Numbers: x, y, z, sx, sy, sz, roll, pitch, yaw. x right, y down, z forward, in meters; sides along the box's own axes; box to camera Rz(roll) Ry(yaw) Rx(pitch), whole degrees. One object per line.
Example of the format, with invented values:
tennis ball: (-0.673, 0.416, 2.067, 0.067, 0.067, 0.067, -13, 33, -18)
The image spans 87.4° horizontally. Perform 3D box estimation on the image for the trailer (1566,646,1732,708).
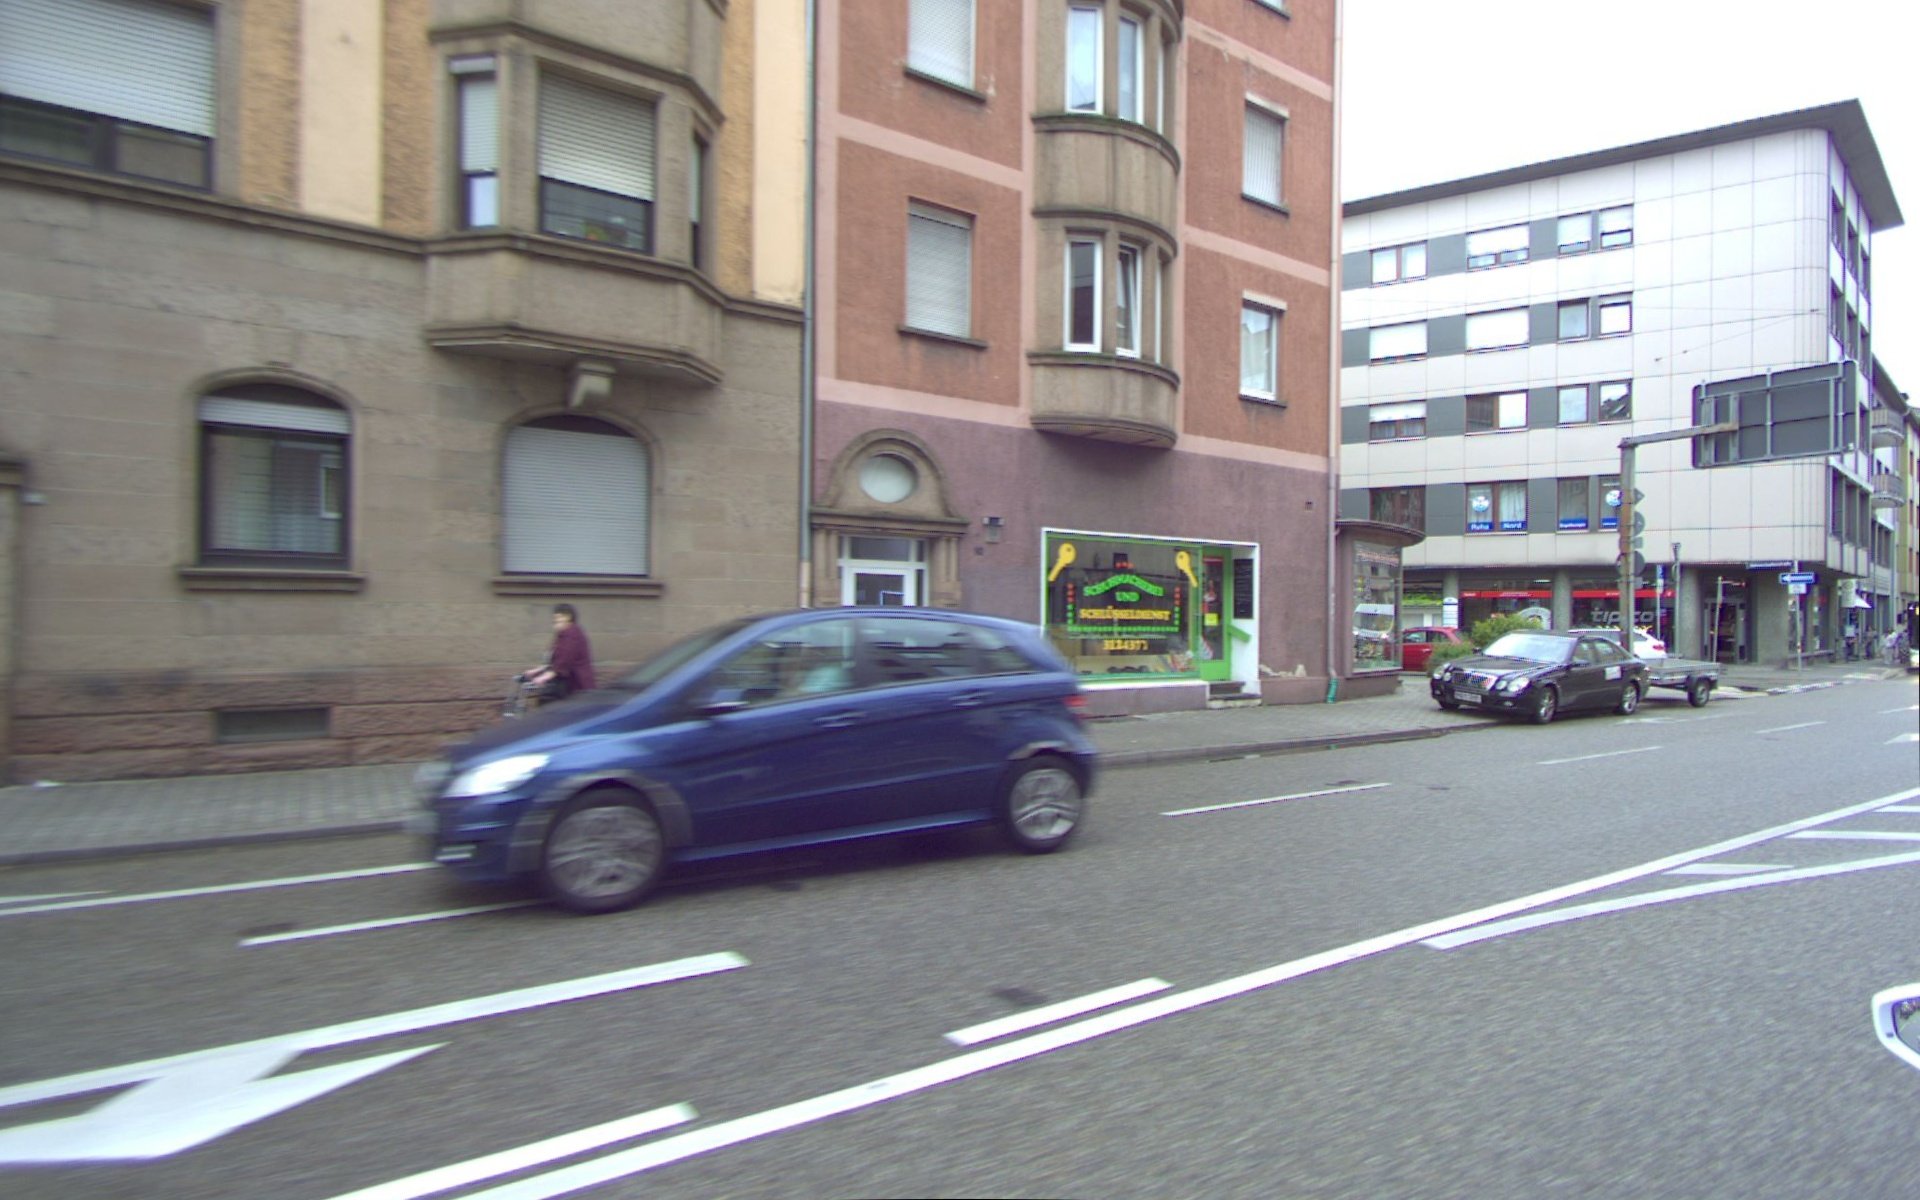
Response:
trailer: (13.572, 1.479, 19.783, 3.022, 0.962, 1.579, 2, 3, -32)

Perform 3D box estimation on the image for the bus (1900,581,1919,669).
bus: (39.327, 1.057, 39.559, 8.848, 3.230, 2.733, 2, -2, -43)

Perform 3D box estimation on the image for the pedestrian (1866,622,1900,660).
pedestrian: (42.258, 1.867, 45.971, 1.255, 1.706, 0.991, 2, -2, -40)

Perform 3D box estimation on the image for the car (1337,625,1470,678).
car: (13.626, 1.550, 30.895, 3.469, 1.502, 1.688, 0, -2, 36)

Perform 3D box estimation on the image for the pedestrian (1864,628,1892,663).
pedestrian: (38.561, 1.907, 42.184, 0.780, 1.414, 0.762, 2, -2, -40)

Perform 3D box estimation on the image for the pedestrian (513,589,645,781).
pedestrian: (-3.640, 0.775, 9.593, 0.833, 1.701, 0.848, 3, 0, 44)

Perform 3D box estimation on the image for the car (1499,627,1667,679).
car: (20.226, 1.702, 32.881, 4.559, 1.553, 1.903, 0, -2, 29)

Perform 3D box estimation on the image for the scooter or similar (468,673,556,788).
scooter or similar: (-4.087, 1.164, 9.158, 0.704, 0.937, 0.477, 3, 0, 44)

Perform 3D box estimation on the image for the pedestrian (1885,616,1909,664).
pedestrian: (41.053, 1.751, 44.021, 0.770, 2.040, 0.673, 2, -2, -40)

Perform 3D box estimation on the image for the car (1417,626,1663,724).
car: (10.267, 1.234, 17.660, 4.744, 1.416, 1.838, 1, 2, -35)

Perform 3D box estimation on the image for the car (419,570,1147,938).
car: (-0.995, 0.776, 6.436, 4.258, 1.673, 1.745, 2, -2, -31)

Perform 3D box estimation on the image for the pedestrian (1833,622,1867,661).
pedestrian: (37.470, 1.734, 42.289, 0.828, 1.610, 0.937, 2, -2, -40)
